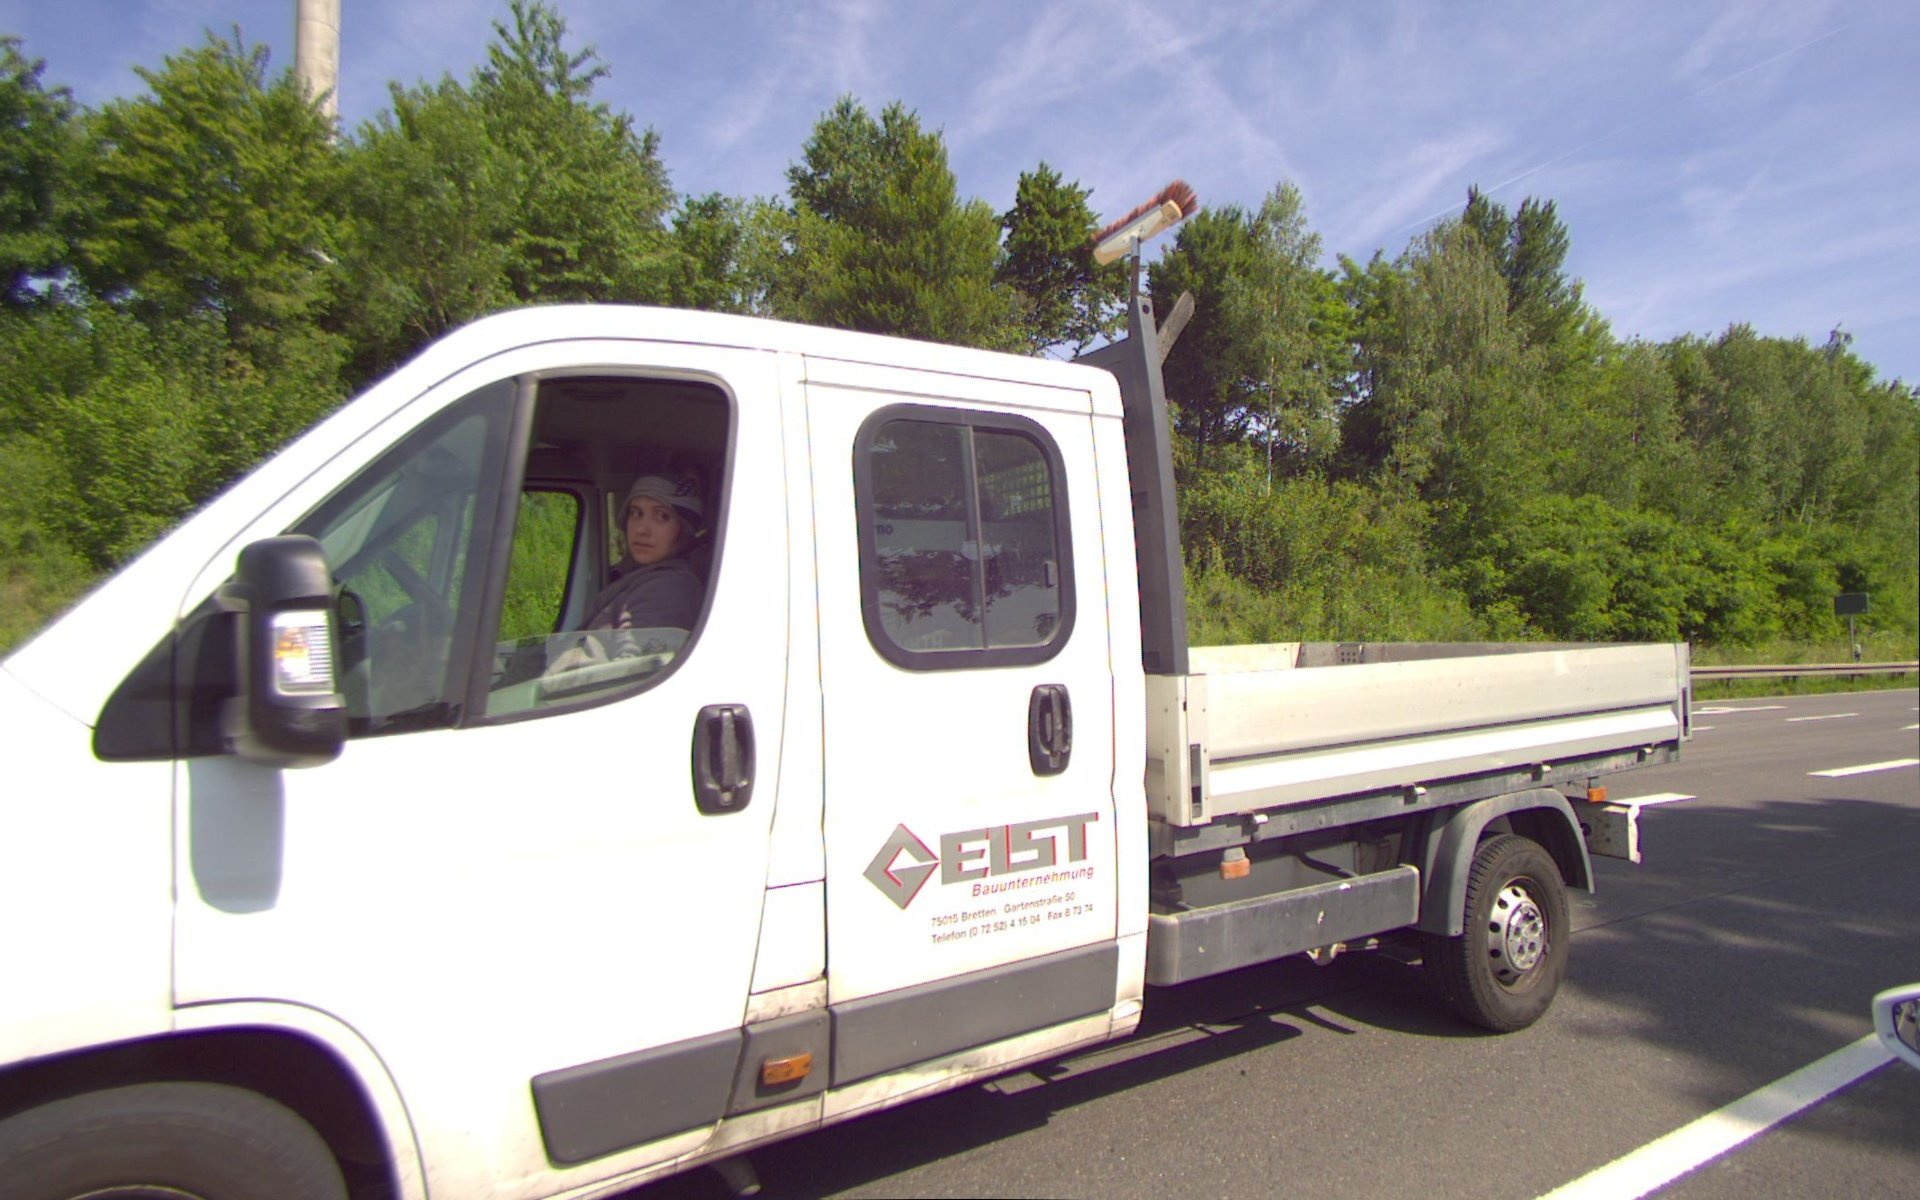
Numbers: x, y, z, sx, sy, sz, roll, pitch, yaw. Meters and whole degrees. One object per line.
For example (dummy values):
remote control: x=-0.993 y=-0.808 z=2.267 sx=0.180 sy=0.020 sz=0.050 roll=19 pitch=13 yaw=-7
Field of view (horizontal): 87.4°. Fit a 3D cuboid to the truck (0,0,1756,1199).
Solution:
truck: x=0.020 y=0.362 z=3.566 sx=6.423 sy=2.297 sz=2.217 roll=2 pitch=-2 yaw=-30
